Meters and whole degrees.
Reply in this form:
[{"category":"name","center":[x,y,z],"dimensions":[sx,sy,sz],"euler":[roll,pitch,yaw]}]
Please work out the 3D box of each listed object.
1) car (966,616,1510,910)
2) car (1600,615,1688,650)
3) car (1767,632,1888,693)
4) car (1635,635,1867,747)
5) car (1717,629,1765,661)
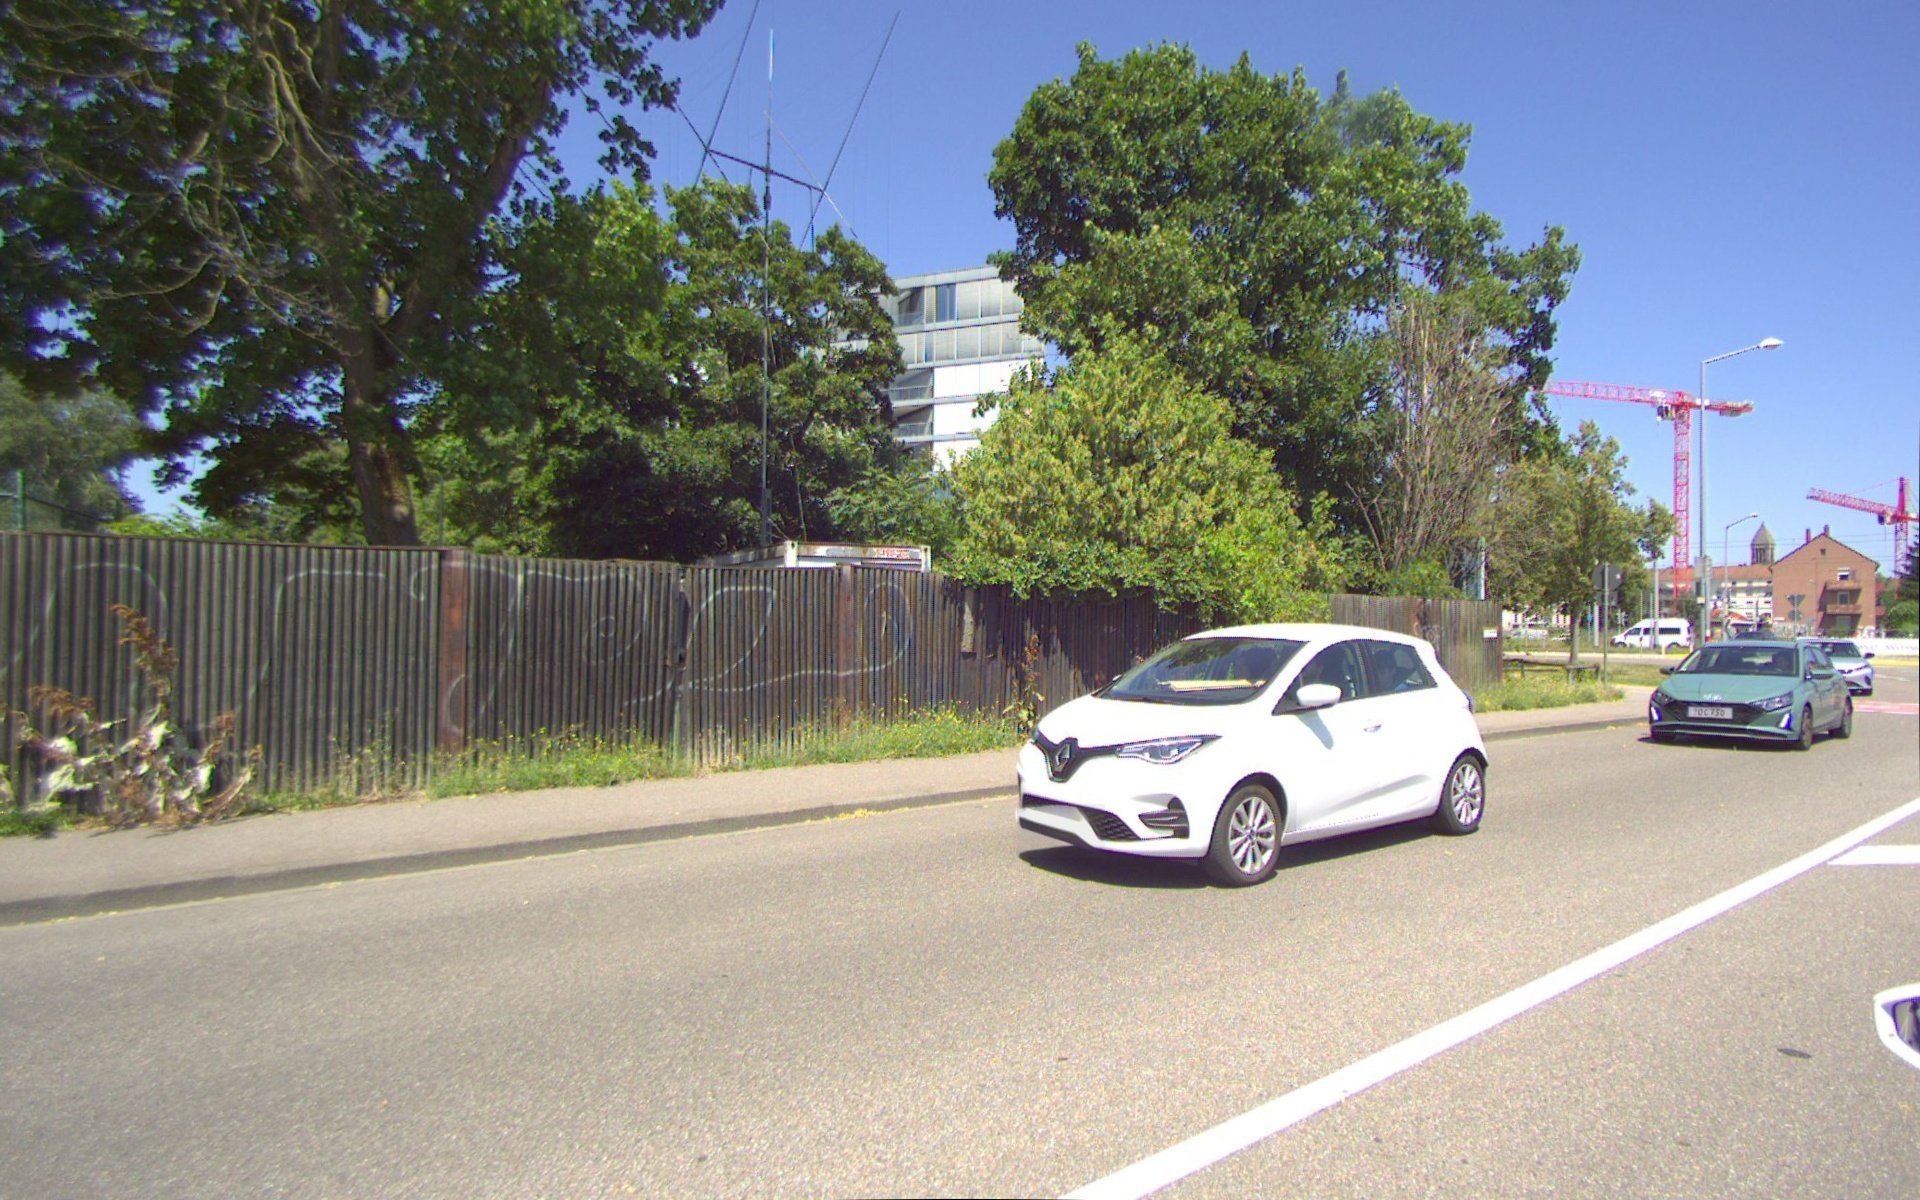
[{"category":"car","center":[2.094,0.911,7.157],"dimensions":[3.835,1.547,1.763],"euler":[1,-2,-36]},{"category":"car","center":[51.718,2.419,76.001],"dimensions":[5.251,2.429,1.984],"euler":[2,0,42]},{"category":"car","center":[23.340,1.623,27.195],"dimensions":[1.702,1.421,4.262],"euler":[2,0,30]},{"category":"car","center":[11.743,1.232,14.820],"dimensions":[4.292,1.390,1.733],"euler":[1,-2,-38]},{"category":"car","center":[45.393,2.567,58.365],"dimensions":[1.732,1.728,3.975],"euler":[2,0,44]}]
